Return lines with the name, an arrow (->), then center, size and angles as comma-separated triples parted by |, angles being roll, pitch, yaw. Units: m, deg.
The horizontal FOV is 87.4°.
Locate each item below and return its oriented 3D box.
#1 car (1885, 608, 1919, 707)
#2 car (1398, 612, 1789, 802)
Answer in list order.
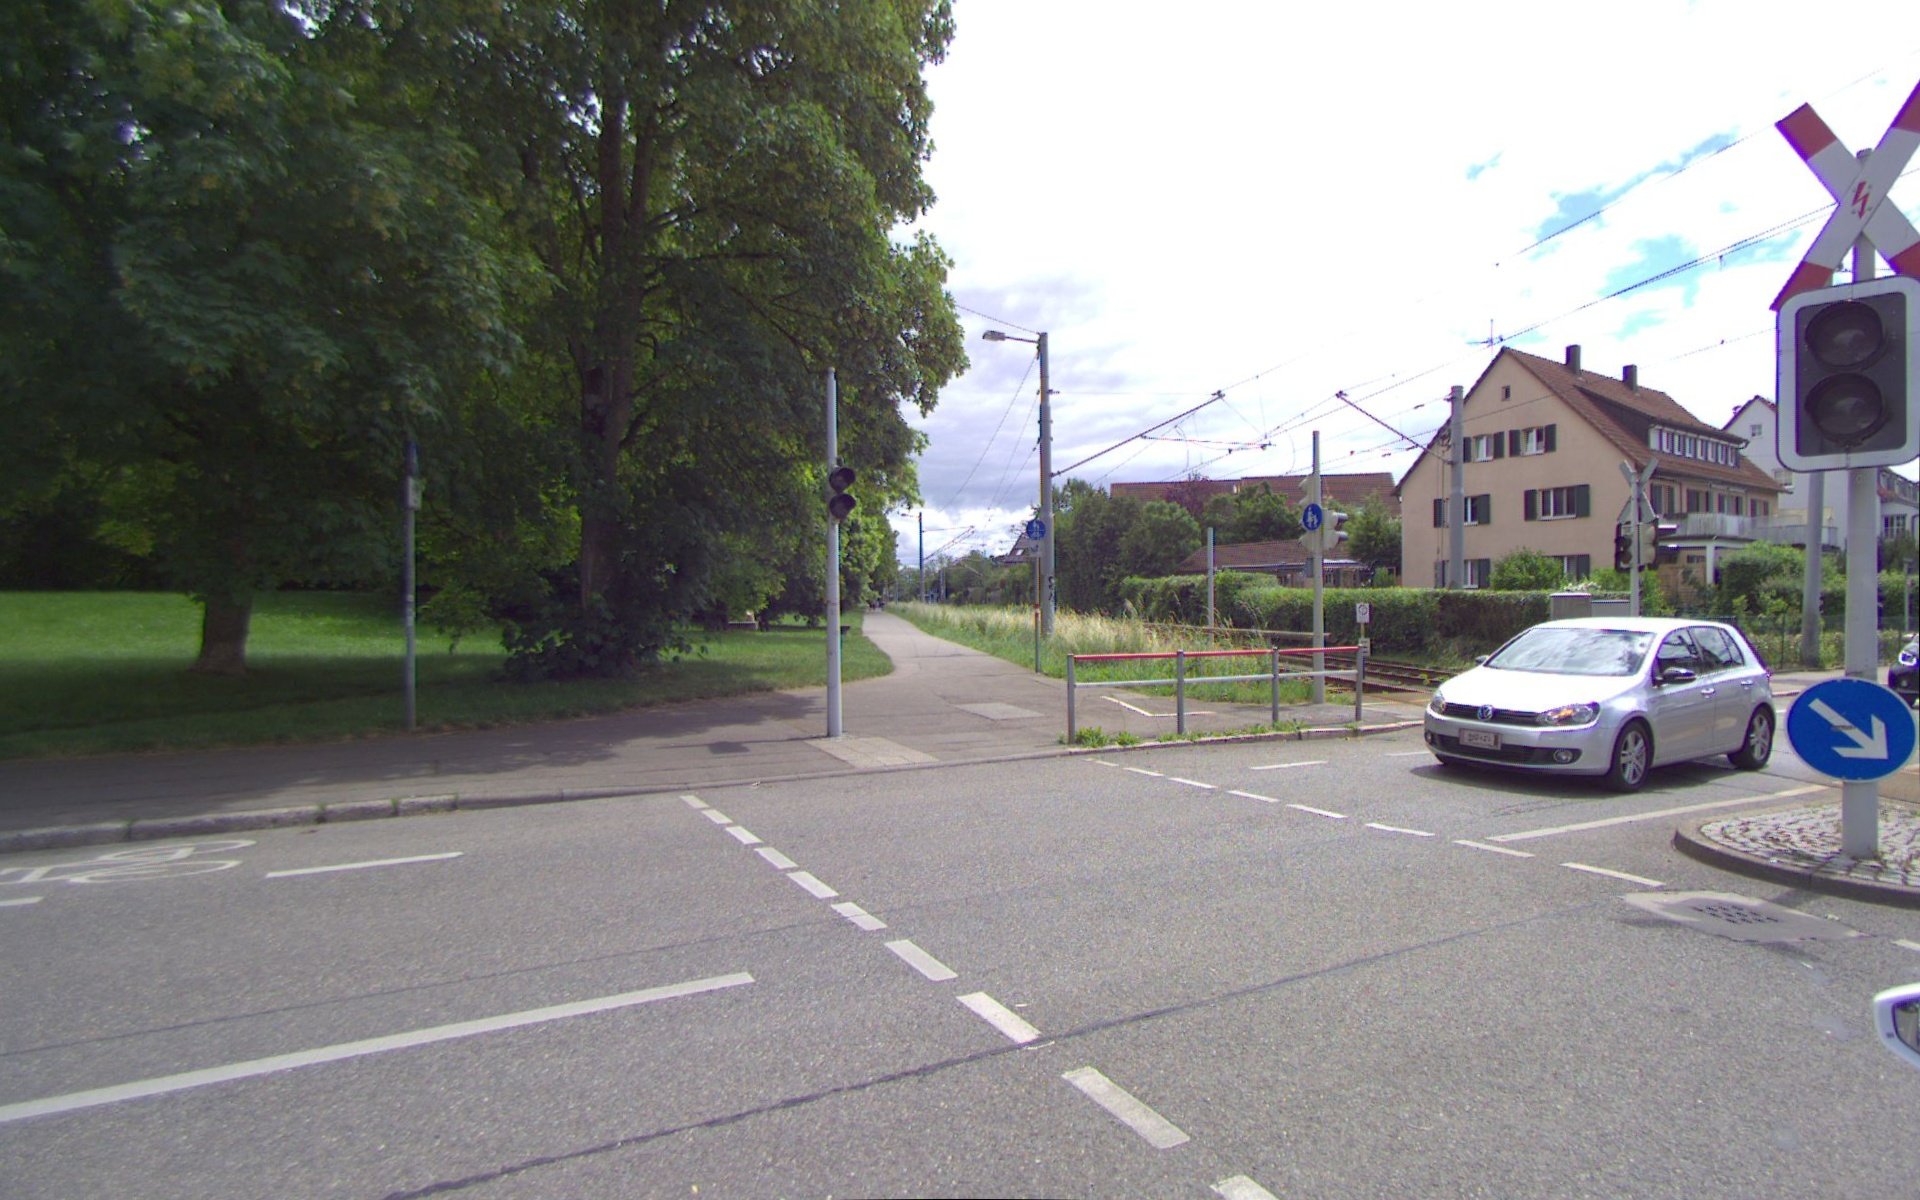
car -> 16.316, 0.895, 16.013 | 2.755, 1.530, 1.567 | 0, 0, -30
car -> 6.266, 0.877, 9.828 | 4.024, 1.478, 1.679 | 0, 0, -32
